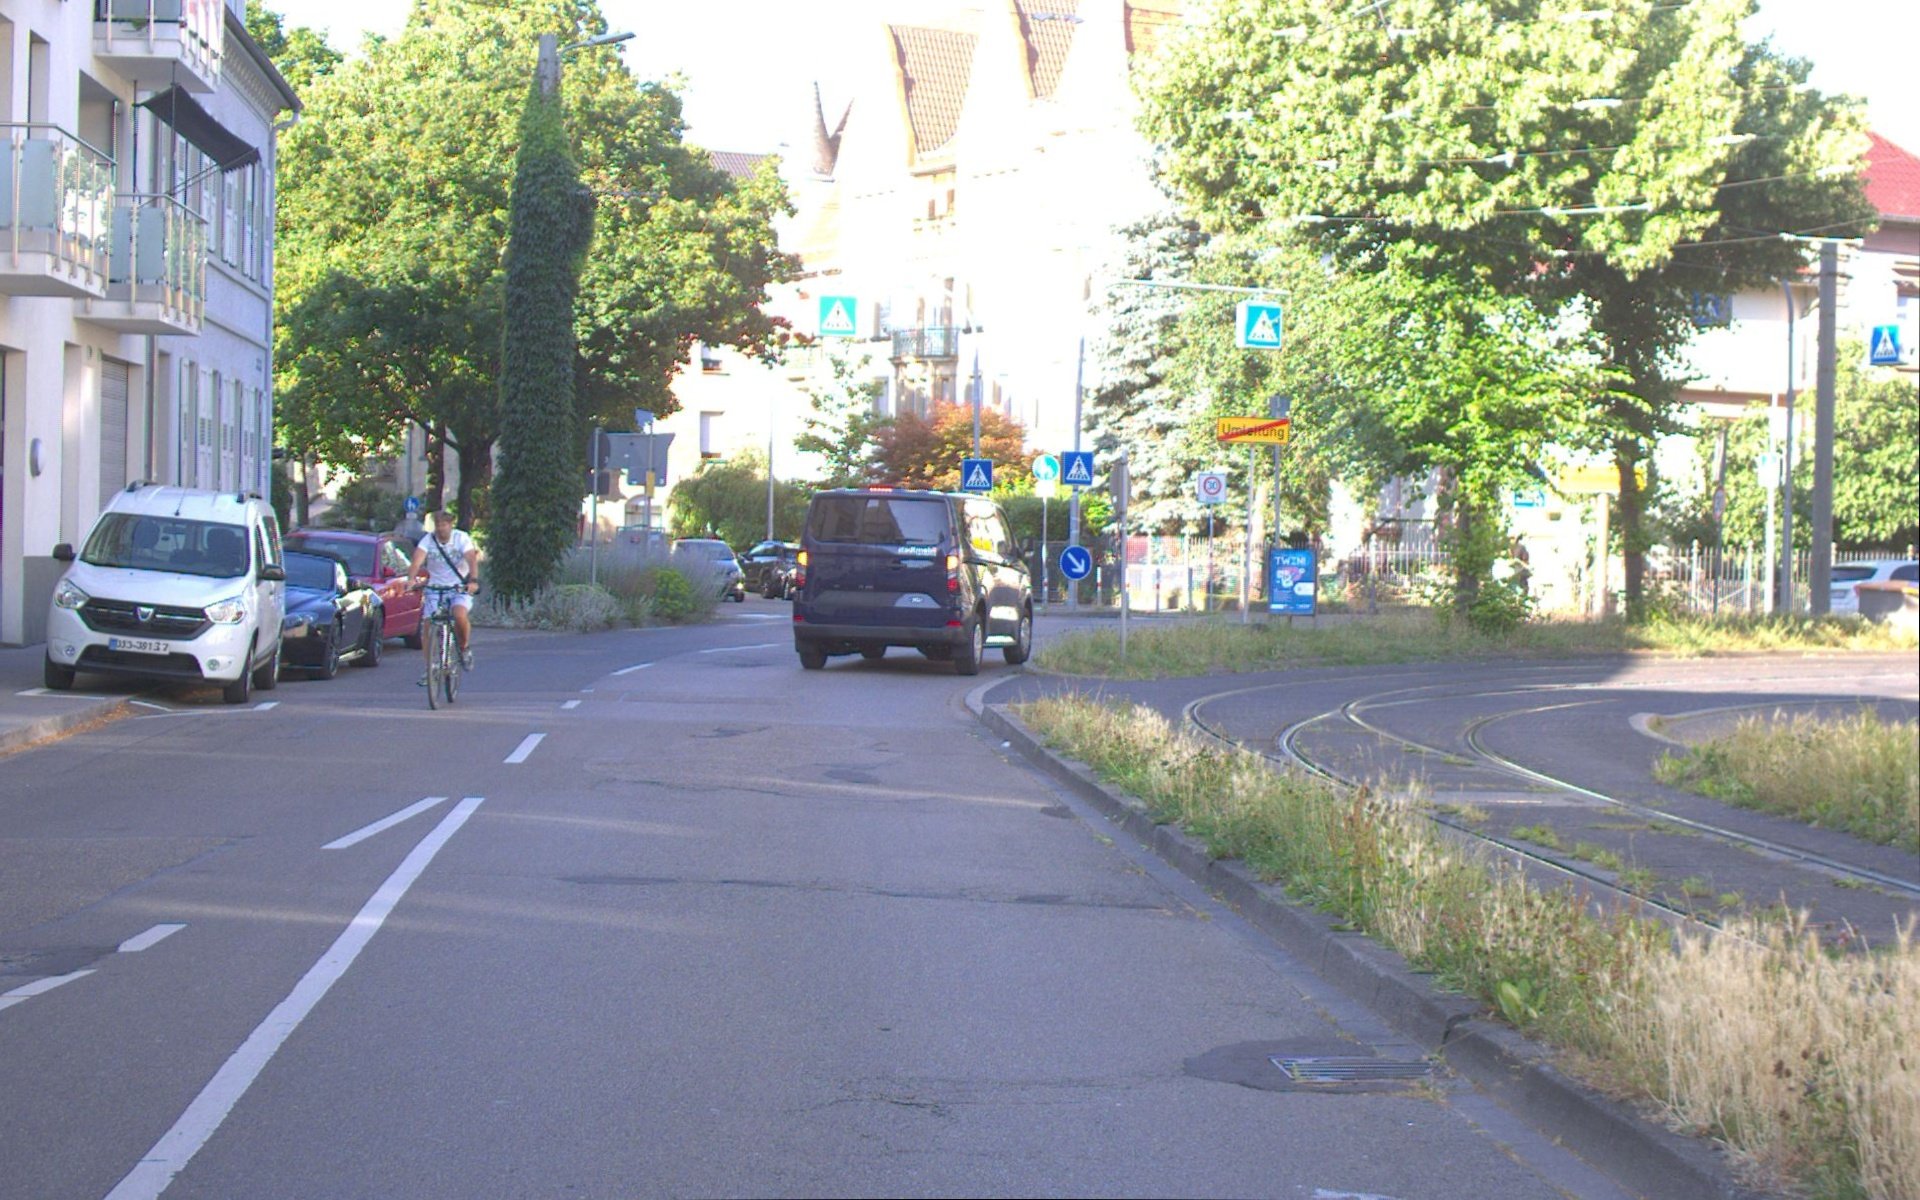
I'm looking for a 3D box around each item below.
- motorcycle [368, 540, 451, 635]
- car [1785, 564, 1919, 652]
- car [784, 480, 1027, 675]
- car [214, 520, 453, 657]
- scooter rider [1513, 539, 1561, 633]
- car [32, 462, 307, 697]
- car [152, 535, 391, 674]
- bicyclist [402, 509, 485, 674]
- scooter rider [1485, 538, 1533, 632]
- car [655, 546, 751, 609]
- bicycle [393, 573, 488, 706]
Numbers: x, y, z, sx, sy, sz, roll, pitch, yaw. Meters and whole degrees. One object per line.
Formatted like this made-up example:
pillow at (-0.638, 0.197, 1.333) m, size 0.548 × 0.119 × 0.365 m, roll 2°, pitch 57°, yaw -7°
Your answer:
motorcycle at (-8.163, -0.197, 50.891) m, size 0.930 × 1.353 × 2.565 m, roll 2°, pitch 1°, yaw -14°
car at (16.940, 0.115, 61.799) m, size 3.672 × 1.500 × 1.965 m, roll -1°, pitch 1°, yaw -25°
car at (-0.549, -0.280, 38.478) m, size 1.994 × 2.007 × 3.999 m, roll 2°, pitch 1°, yaw 9°
car at (-7.515, -0.185, 41.662) m, size 1.709 × 1.461 × 4.591 m, roll 3°, pitch 2°, yaw 4°
scooter rider at (10.328, -0.258, 61.559) m, size 0.606 × 1.667 × 0.655 m, roll 0°, pitch 1°, yaw -18°
car at (-6.976, -0.196, 30.728) m, size 1.810 × 1.863 × 4.333 m, roll 3°, pitch 0°, yaw -6°
car at (-7.057, 0.032, 35.608) m, size 1.664 × 1.269 × 4.026 m, roll 3°, pitch 0°, yaw -1°
bicyclist at (-4.375, -0.073, 29.166) m, size 0.622 × 1.375 × 0.801 m, roll 0°, pitch 0°, yaw -3°
scooter rider at (9.796, -0.266, 61.379) m, size 0.606 × 1.667 × 0.655 m, roll 0°, pitch 1°, yaw -18°
car at (-5.997, -0.511, 80.042) m, size 1.712 × 1.398 × 3.739 m, roll -2°, pitch 0°, yaw -12°
bicycle at (-4.370, 0.319, 29.016) m, size 0.622 × 1.078 × 1.784 m, roll 0°, pitch 1°, yaw -3°
